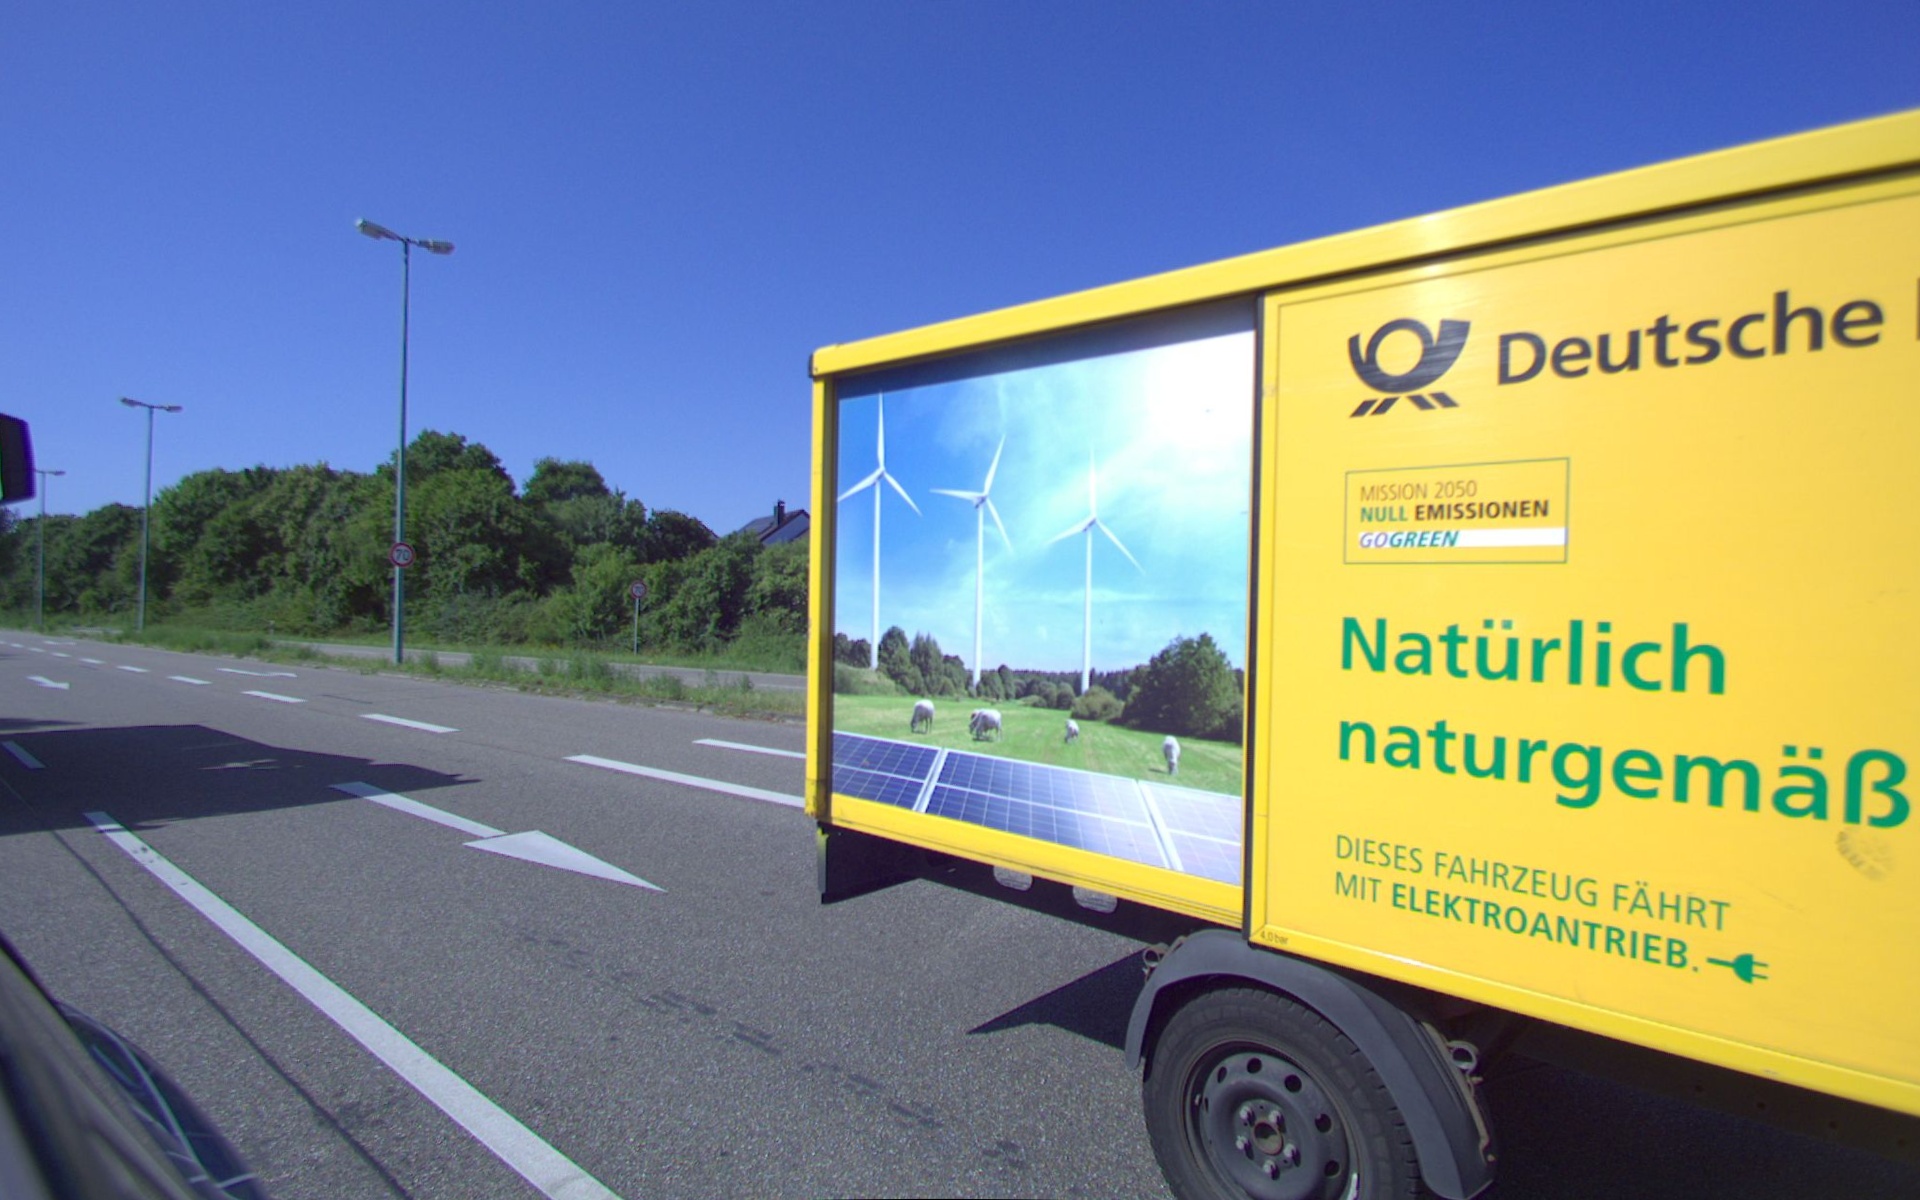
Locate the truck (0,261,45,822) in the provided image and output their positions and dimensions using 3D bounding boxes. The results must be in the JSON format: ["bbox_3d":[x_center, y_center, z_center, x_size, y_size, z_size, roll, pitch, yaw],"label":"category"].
[{"bbox_3d":[-9.919,-0.402,8.363,6.590,3.904,2.901,0,0,43],"label":"truck"}]

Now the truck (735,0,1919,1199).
[{"bbox_3d":[2.158,0.138,2.120,5.915,2.476,2.089,0,0,42],"label":"truck"}]
